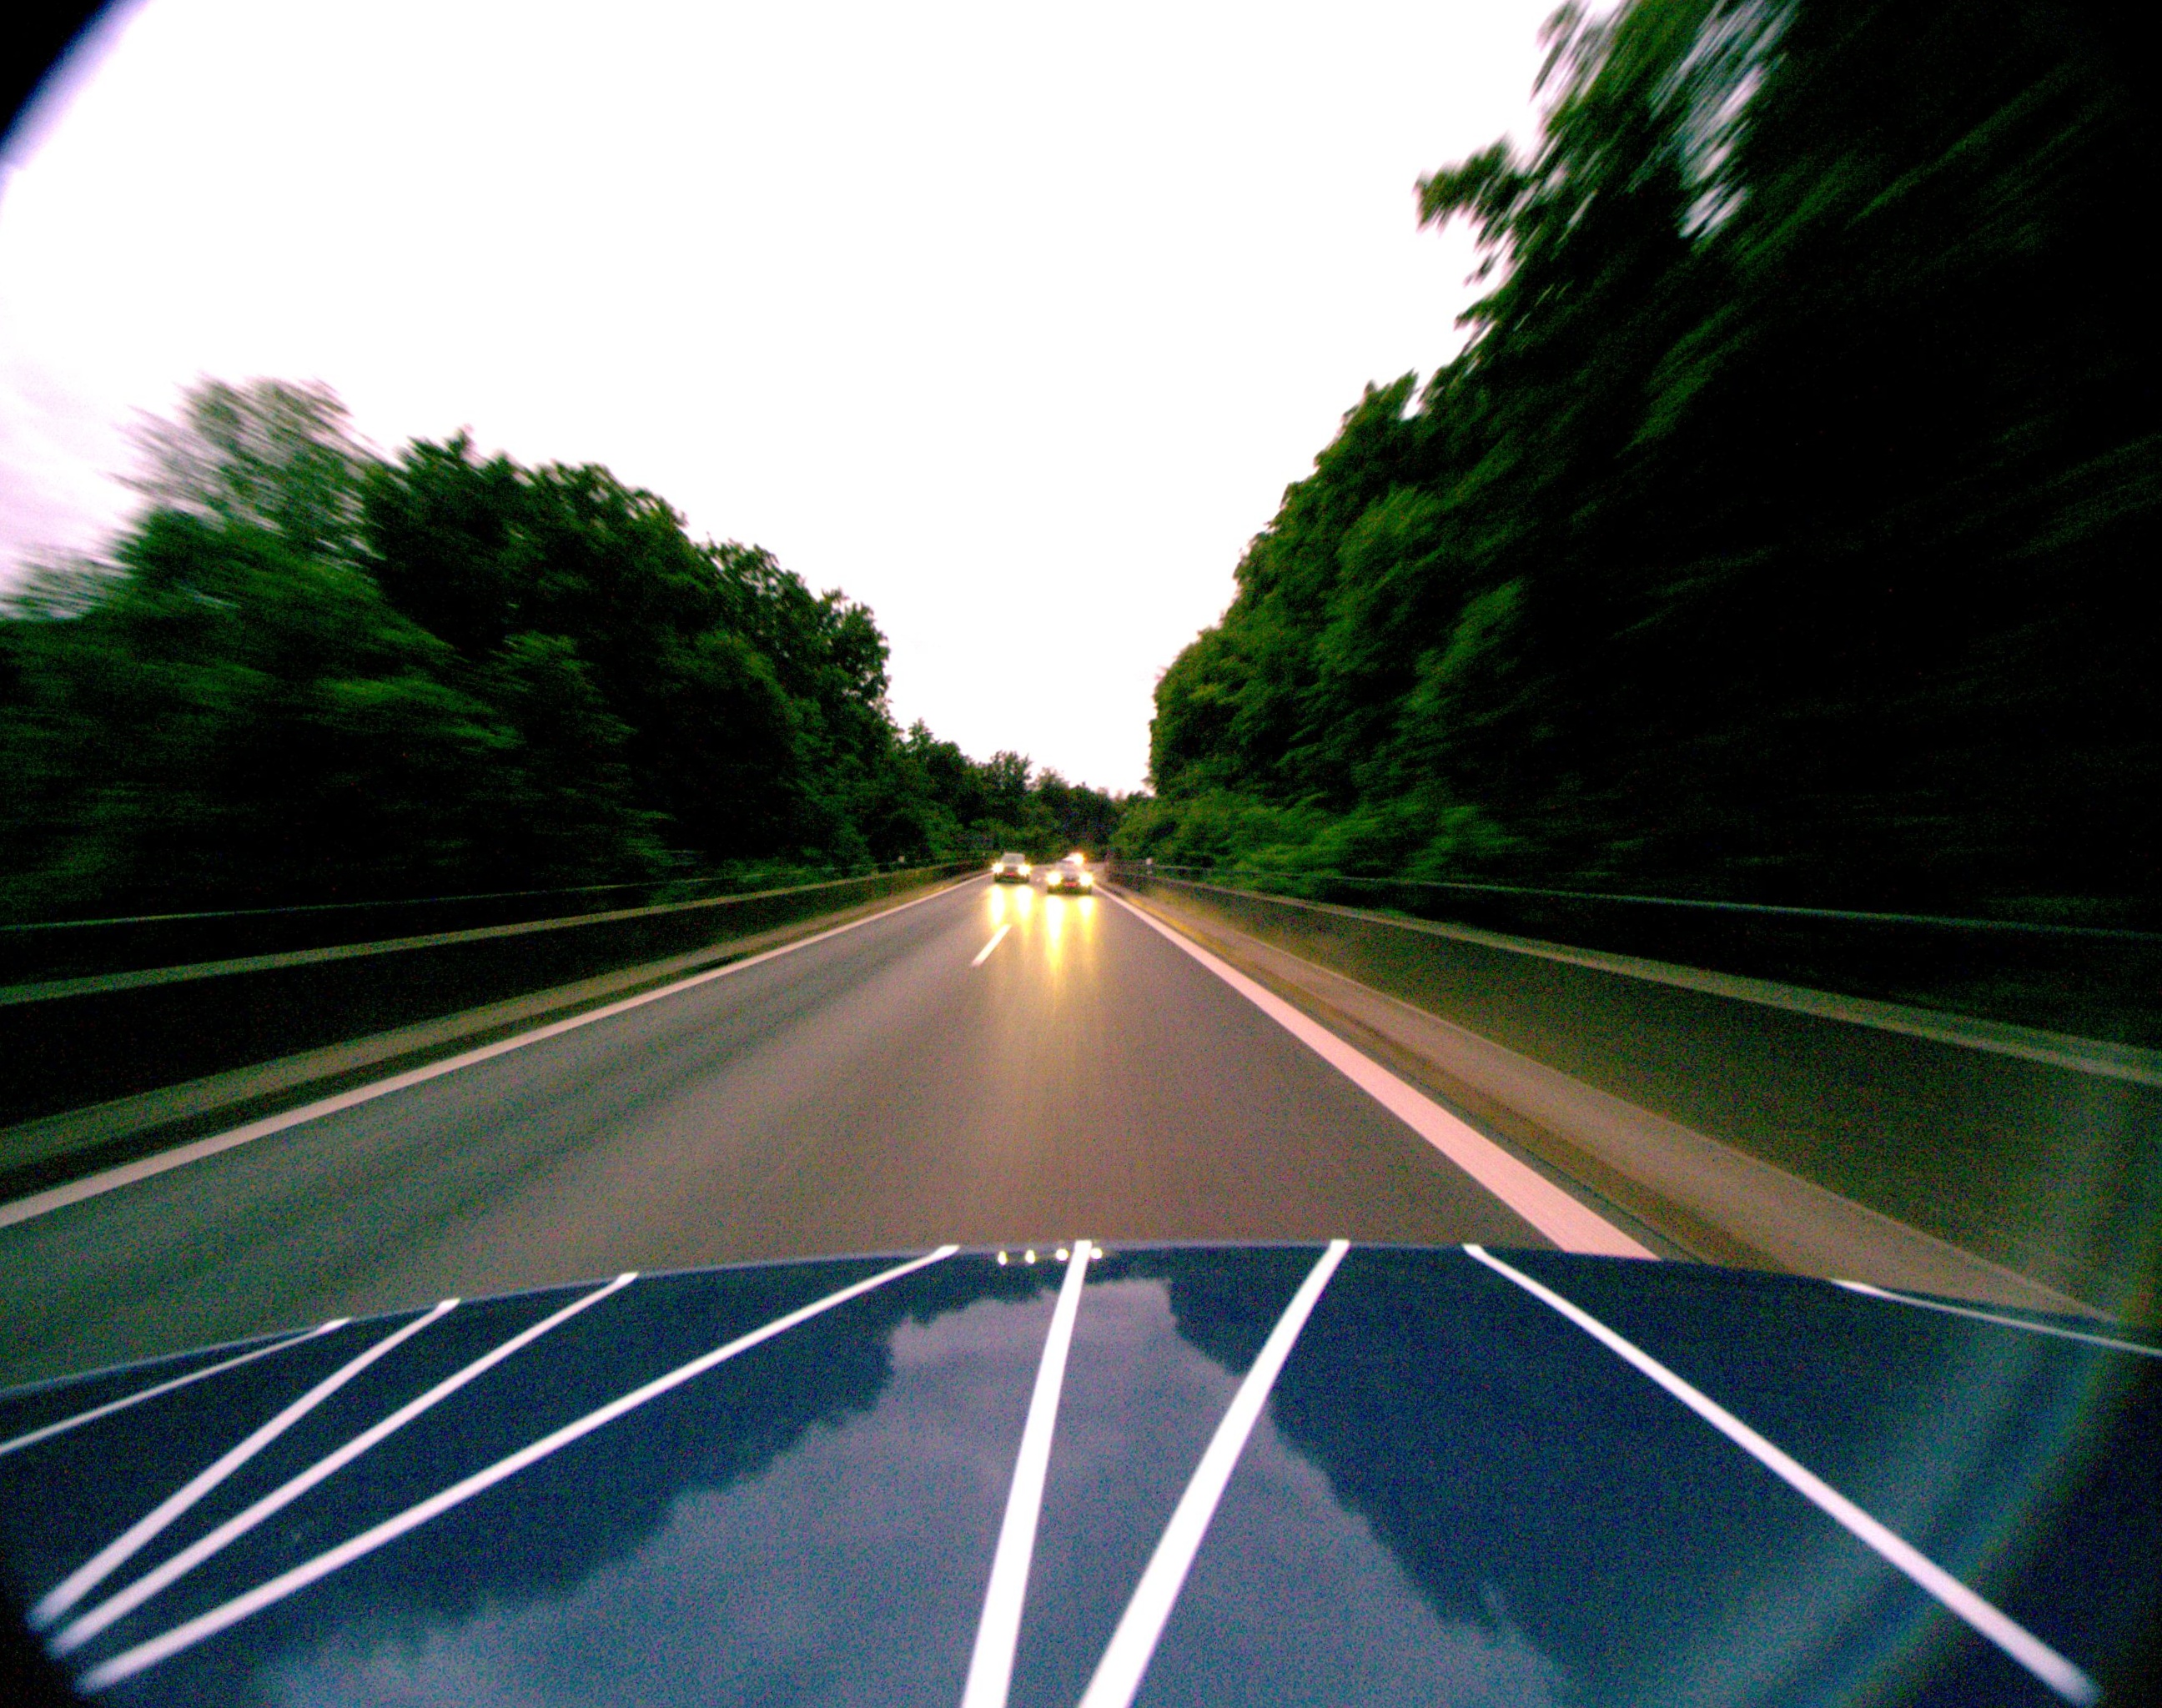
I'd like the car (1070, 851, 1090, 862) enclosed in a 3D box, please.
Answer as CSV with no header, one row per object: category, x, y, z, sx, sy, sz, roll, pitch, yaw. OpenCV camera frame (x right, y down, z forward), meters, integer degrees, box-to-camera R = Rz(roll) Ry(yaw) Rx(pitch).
car,-0.113,0.430,118.588,1.995,1.608,4.006,4,0,18

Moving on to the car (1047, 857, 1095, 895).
car,-0.407,0.932,33.867,1.998,1.499,4.000,1,0,1

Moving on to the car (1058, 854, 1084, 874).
car,-0.825,0.828,63.179,1.998,1.499,3.999,2,1,0

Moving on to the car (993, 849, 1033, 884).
car,-3.871,0.668,43.660,1.999,1.630,3.997,5,1,-3
